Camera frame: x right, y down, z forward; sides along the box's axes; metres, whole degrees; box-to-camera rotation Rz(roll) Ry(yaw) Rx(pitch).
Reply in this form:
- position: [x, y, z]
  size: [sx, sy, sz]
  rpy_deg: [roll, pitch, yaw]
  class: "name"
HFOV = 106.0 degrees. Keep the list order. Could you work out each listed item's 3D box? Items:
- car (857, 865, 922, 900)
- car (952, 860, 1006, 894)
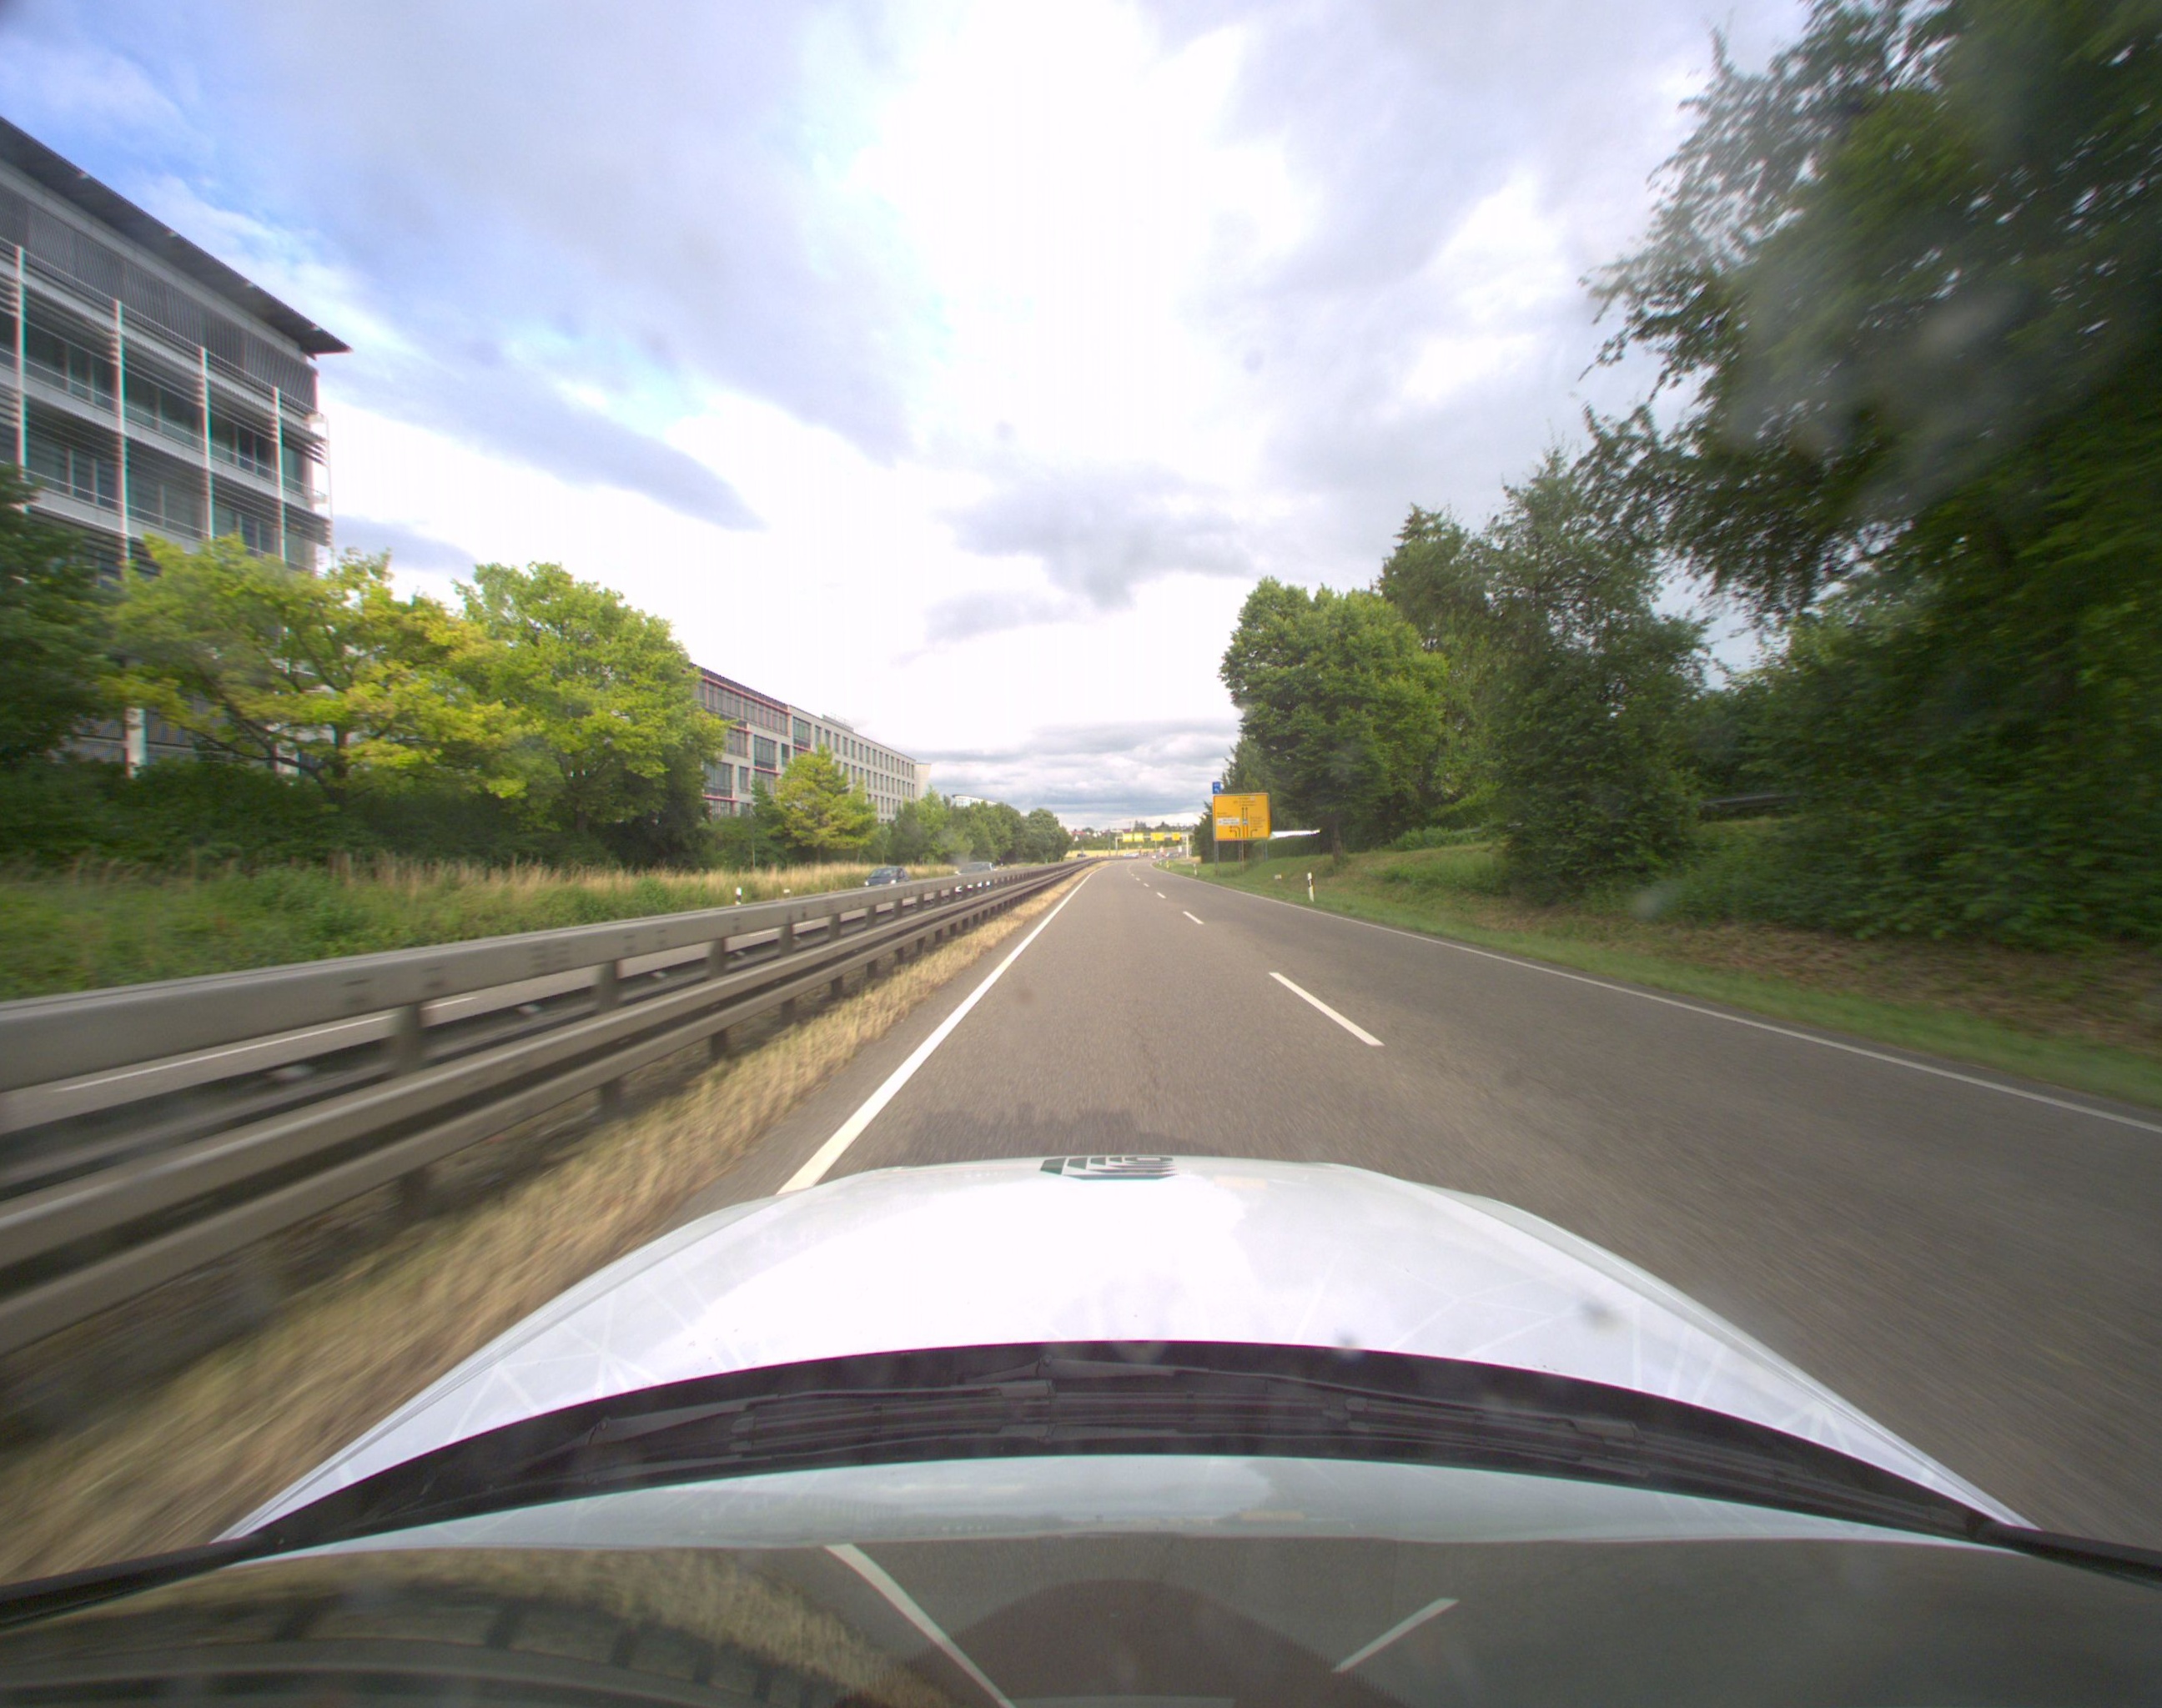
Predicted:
- position: [-8.910, 1.291, 38.313]
  size: [1.750, 1.422, 4.569]
  rpy_deg: [-2, 0, 2]
  class: "car"
- position: [-4.729, 1.025, 38.225]
  size: [1.828, 1.378, 4.567]
  rpy_deg: [-2, 0, 1]
  class: "car"
